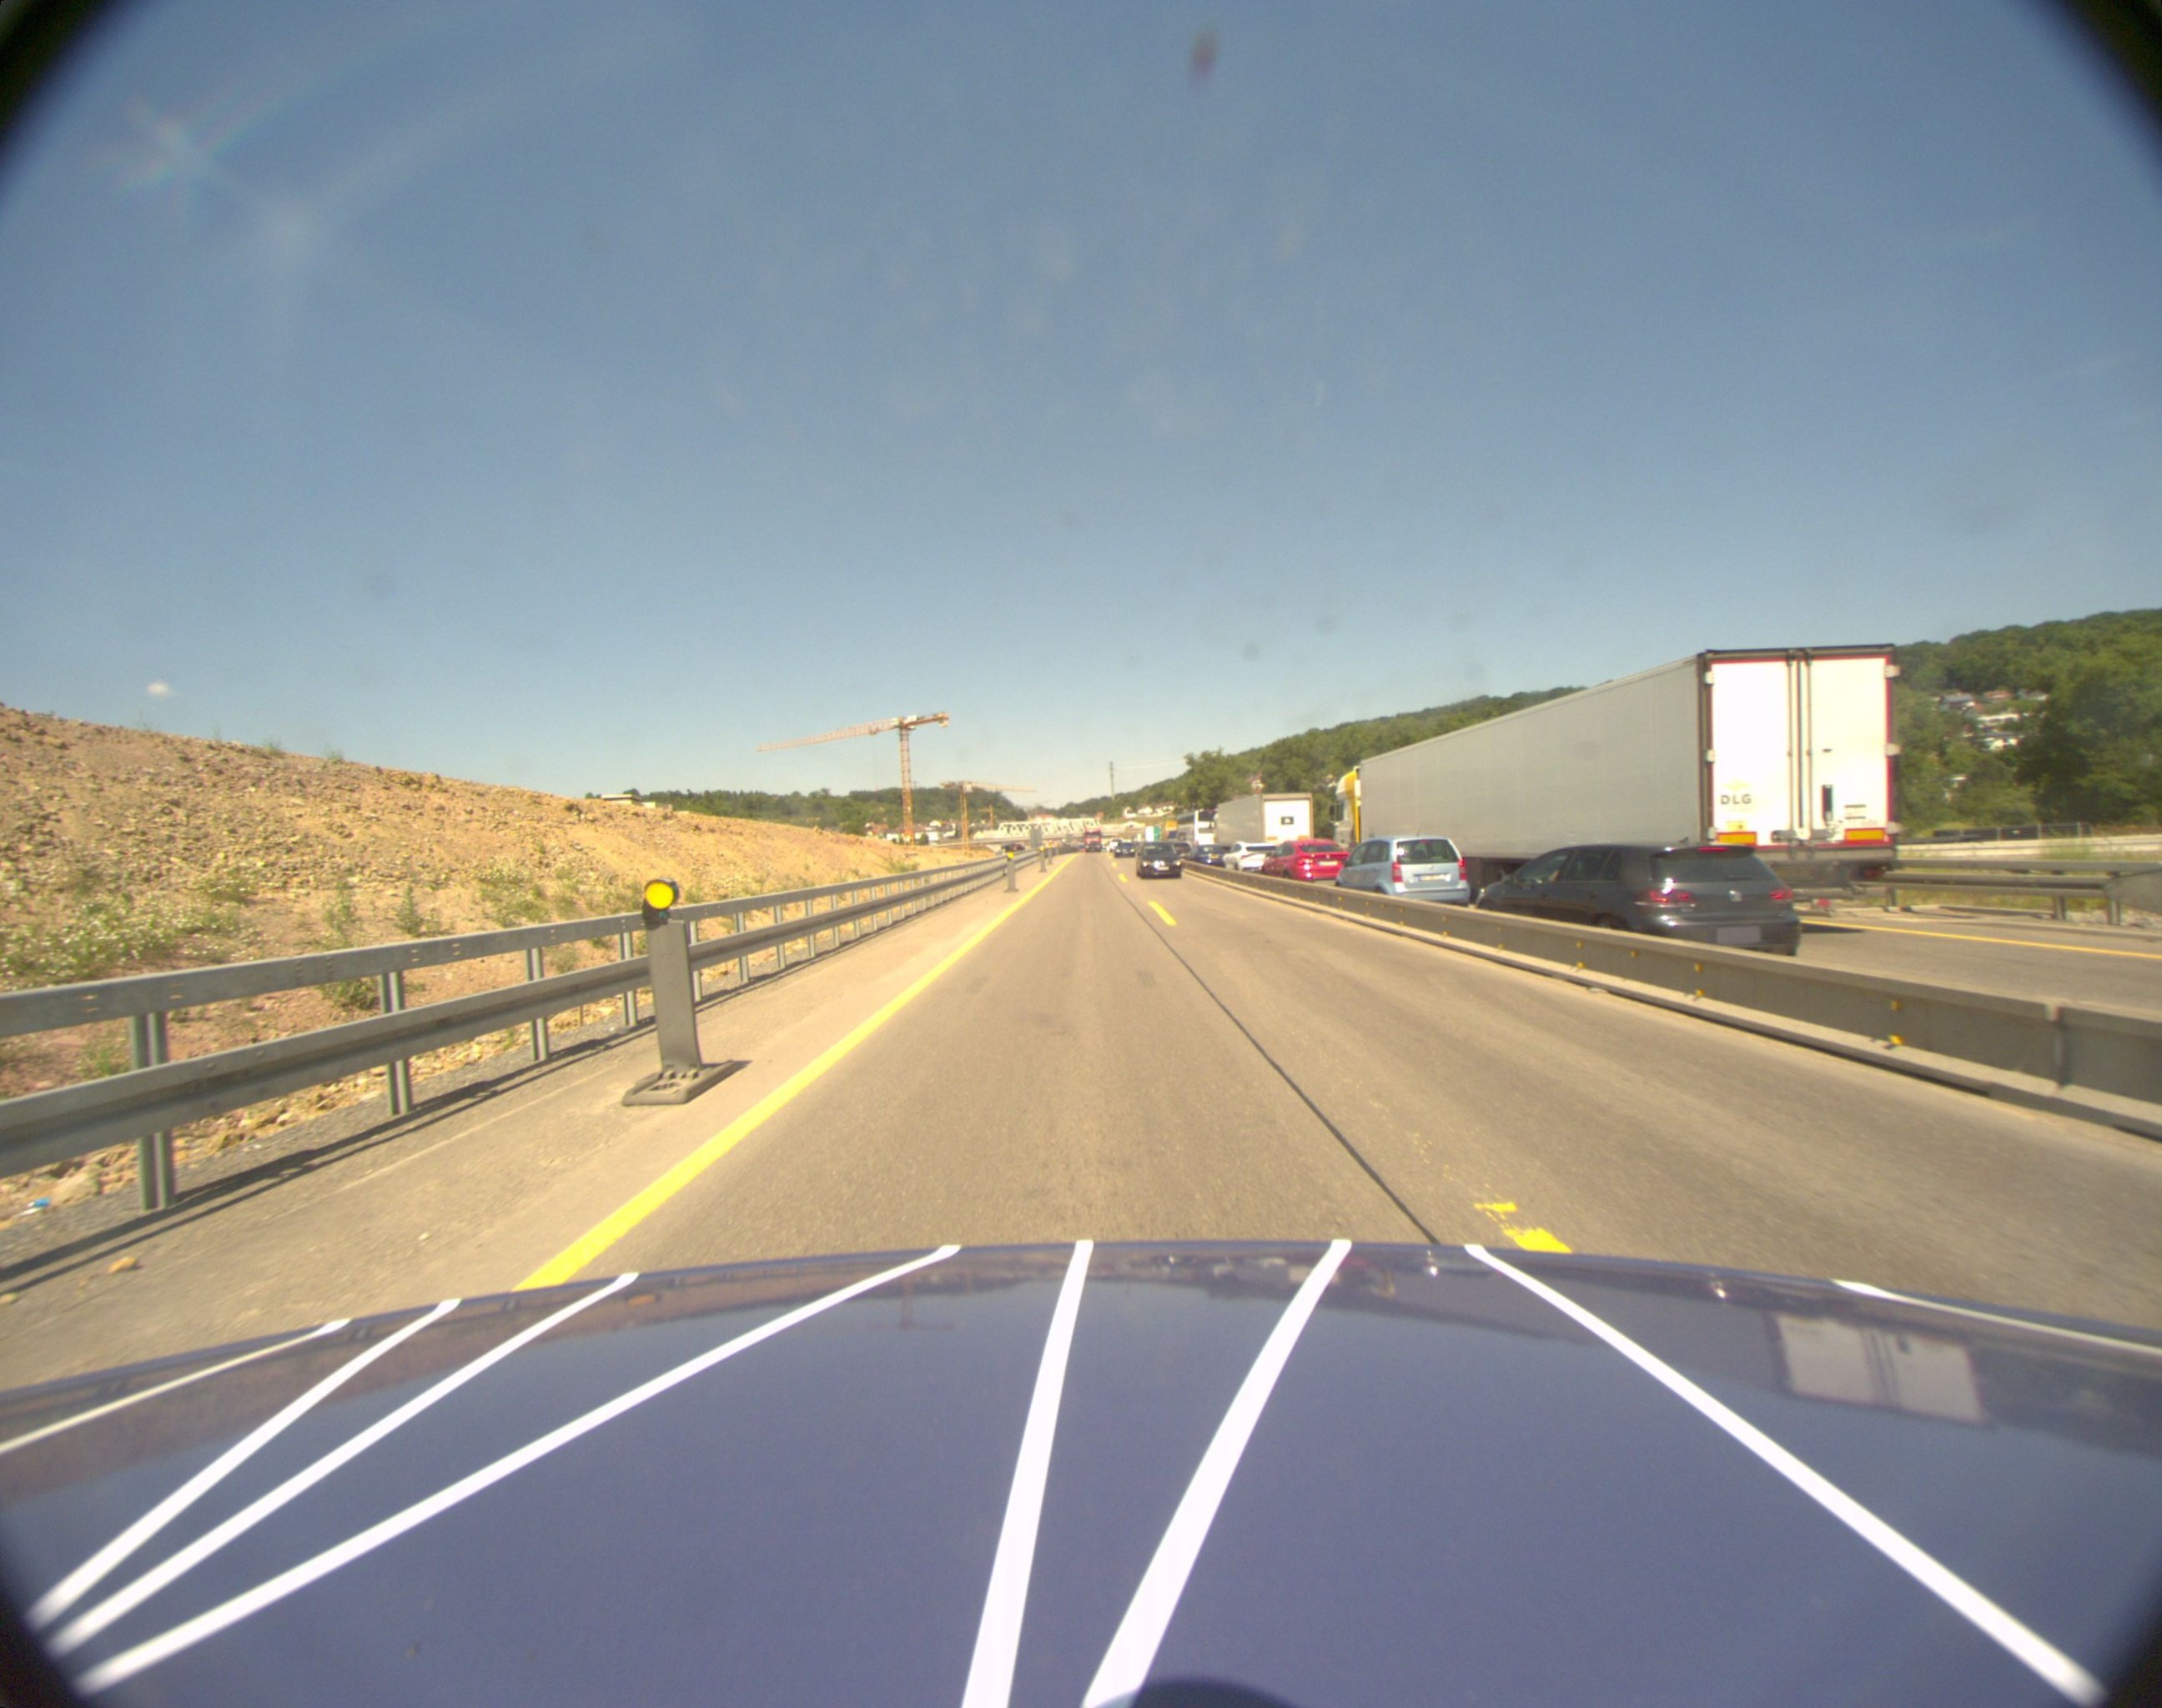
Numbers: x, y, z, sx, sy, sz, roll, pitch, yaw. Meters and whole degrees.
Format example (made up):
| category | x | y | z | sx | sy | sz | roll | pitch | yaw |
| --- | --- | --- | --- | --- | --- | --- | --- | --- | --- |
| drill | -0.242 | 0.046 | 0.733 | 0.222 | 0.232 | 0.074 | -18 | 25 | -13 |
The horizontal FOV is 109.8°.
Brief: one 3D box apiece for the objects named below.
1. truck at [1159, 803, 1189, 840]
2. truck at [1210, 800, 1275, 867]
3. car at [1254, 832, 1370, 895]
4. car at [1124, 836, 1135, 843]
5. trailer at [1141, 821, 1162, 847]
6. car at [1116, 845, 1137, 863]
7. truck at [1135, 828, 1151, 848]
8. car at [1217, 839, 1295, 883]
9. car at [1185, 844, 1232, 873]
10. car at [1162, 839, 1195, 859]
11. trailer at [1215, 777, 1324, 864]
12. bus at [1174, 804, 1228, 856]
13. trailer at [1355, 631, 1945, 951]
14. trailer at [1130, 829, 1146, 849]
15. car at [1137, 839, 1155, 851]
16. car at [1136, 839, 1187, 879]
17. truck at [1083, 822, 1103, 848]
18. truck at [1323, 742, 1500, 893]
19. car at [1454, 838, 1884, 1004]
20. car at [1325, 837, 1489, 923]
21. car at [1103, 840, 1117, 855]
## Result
| category | x | y | z | sx | sy | sz | roll | pitch | yaw |
| --- | --- | --- | --- | --- | --- | --- | --- | --- | --- |
| truck | 11.547 | -3.931 | 94.913 | 2.809 | 4.128 | 10.080 | 0 | 0 | 2 |
| truck | 10.931 | -1.353 | 52.175 | 3.104 | 4.174 | 6.702 | -2 | 1 | 2 |
| car | 6.832 | 0.274 | 23.072 | 1.998 | 1.622 | 4.758 | -3 | 0 | 0 |
| car | 10.362 | -3.120 | 162.572 | 1.998 | 1.489 | 4.974 | -1 | 1 | 1 |
| trailer | 12.284 | -3.441 | 132.799 | 2.822 | 4.405 | 13.167 | -1 | 1 | 2 |
| car | 4.203 | 0.020 | 70.806 | 1.791 | 1.578 | 4.000 | -3 | 0 | 2 |
| truck | 13.008 | -3.298 | 160.248 | 2.911 | 3.742 | 8.368 | -3 | 0 | 2 |
| car | 7.025 | 0.258 | 31.001 | 1.998 | 1.611 | 4.881 | -2 | 0 | 0 |
| car | 7.030 | 0.261 | 42.491 | 1.817 | 1.429 | 5.121 | -3 | 0 | 1 |
| car | 7.402 | -0.435 | 58.094 | 1.837 | 1.415 | 4.682 | -2 | 1 | 0 |
| trailer | 10.799 | -1.801 | 45.636 | 3.148 | 4.358 | 14.076 | -2 | 1 | 1 |
| bus | 10.812 | -2.157 | 70.087 | 2.746 | 4.240 | 14.472 | -2 | 1 | 1 |
| trailer | 10.151 | -0.938 | 17.139 | 2.993 | 4.184 | 13.944 | -2 | 1 | 1 |
| trailer | 13.569 | -3.587 | 180.459 | 3.109 | 4.439 | 13.020 | -1 | 0 | 2 |
| car | 7.873 | -1.124 | 92.261 | 1.842 | 1.435 | 4.928 | -1 | 2 | 1 |
| car | 3.674 | 0.205 | 35.444 | 1.862 | 1.683 | 4.097 | -2 | 0 | -1 |
| truck | 1.886 | -2.860 | 116.736 | 2.702 | 3.705 | 8.507 | -2 | 1 | 2 |
| truck | 10.263 | -1.057 | 24.364 | 2.985 | 4.161 | 5.872 | -2 | 1 | 0 |
| car | 6.788 | 0.645 | 9.554 | 1.999 | 1.548 | 4.338 | -2 | 0 | -1 |
| car | 6.778 | 0.444 | 16.295 | 1.831 | 1.565 | 3.999 | -2 | 1 | 1 |
| car | 4.053 | -0.898 | 105.223 | 1.791 | 1.870 | 4.000 | -3 | 0 | 2 |
